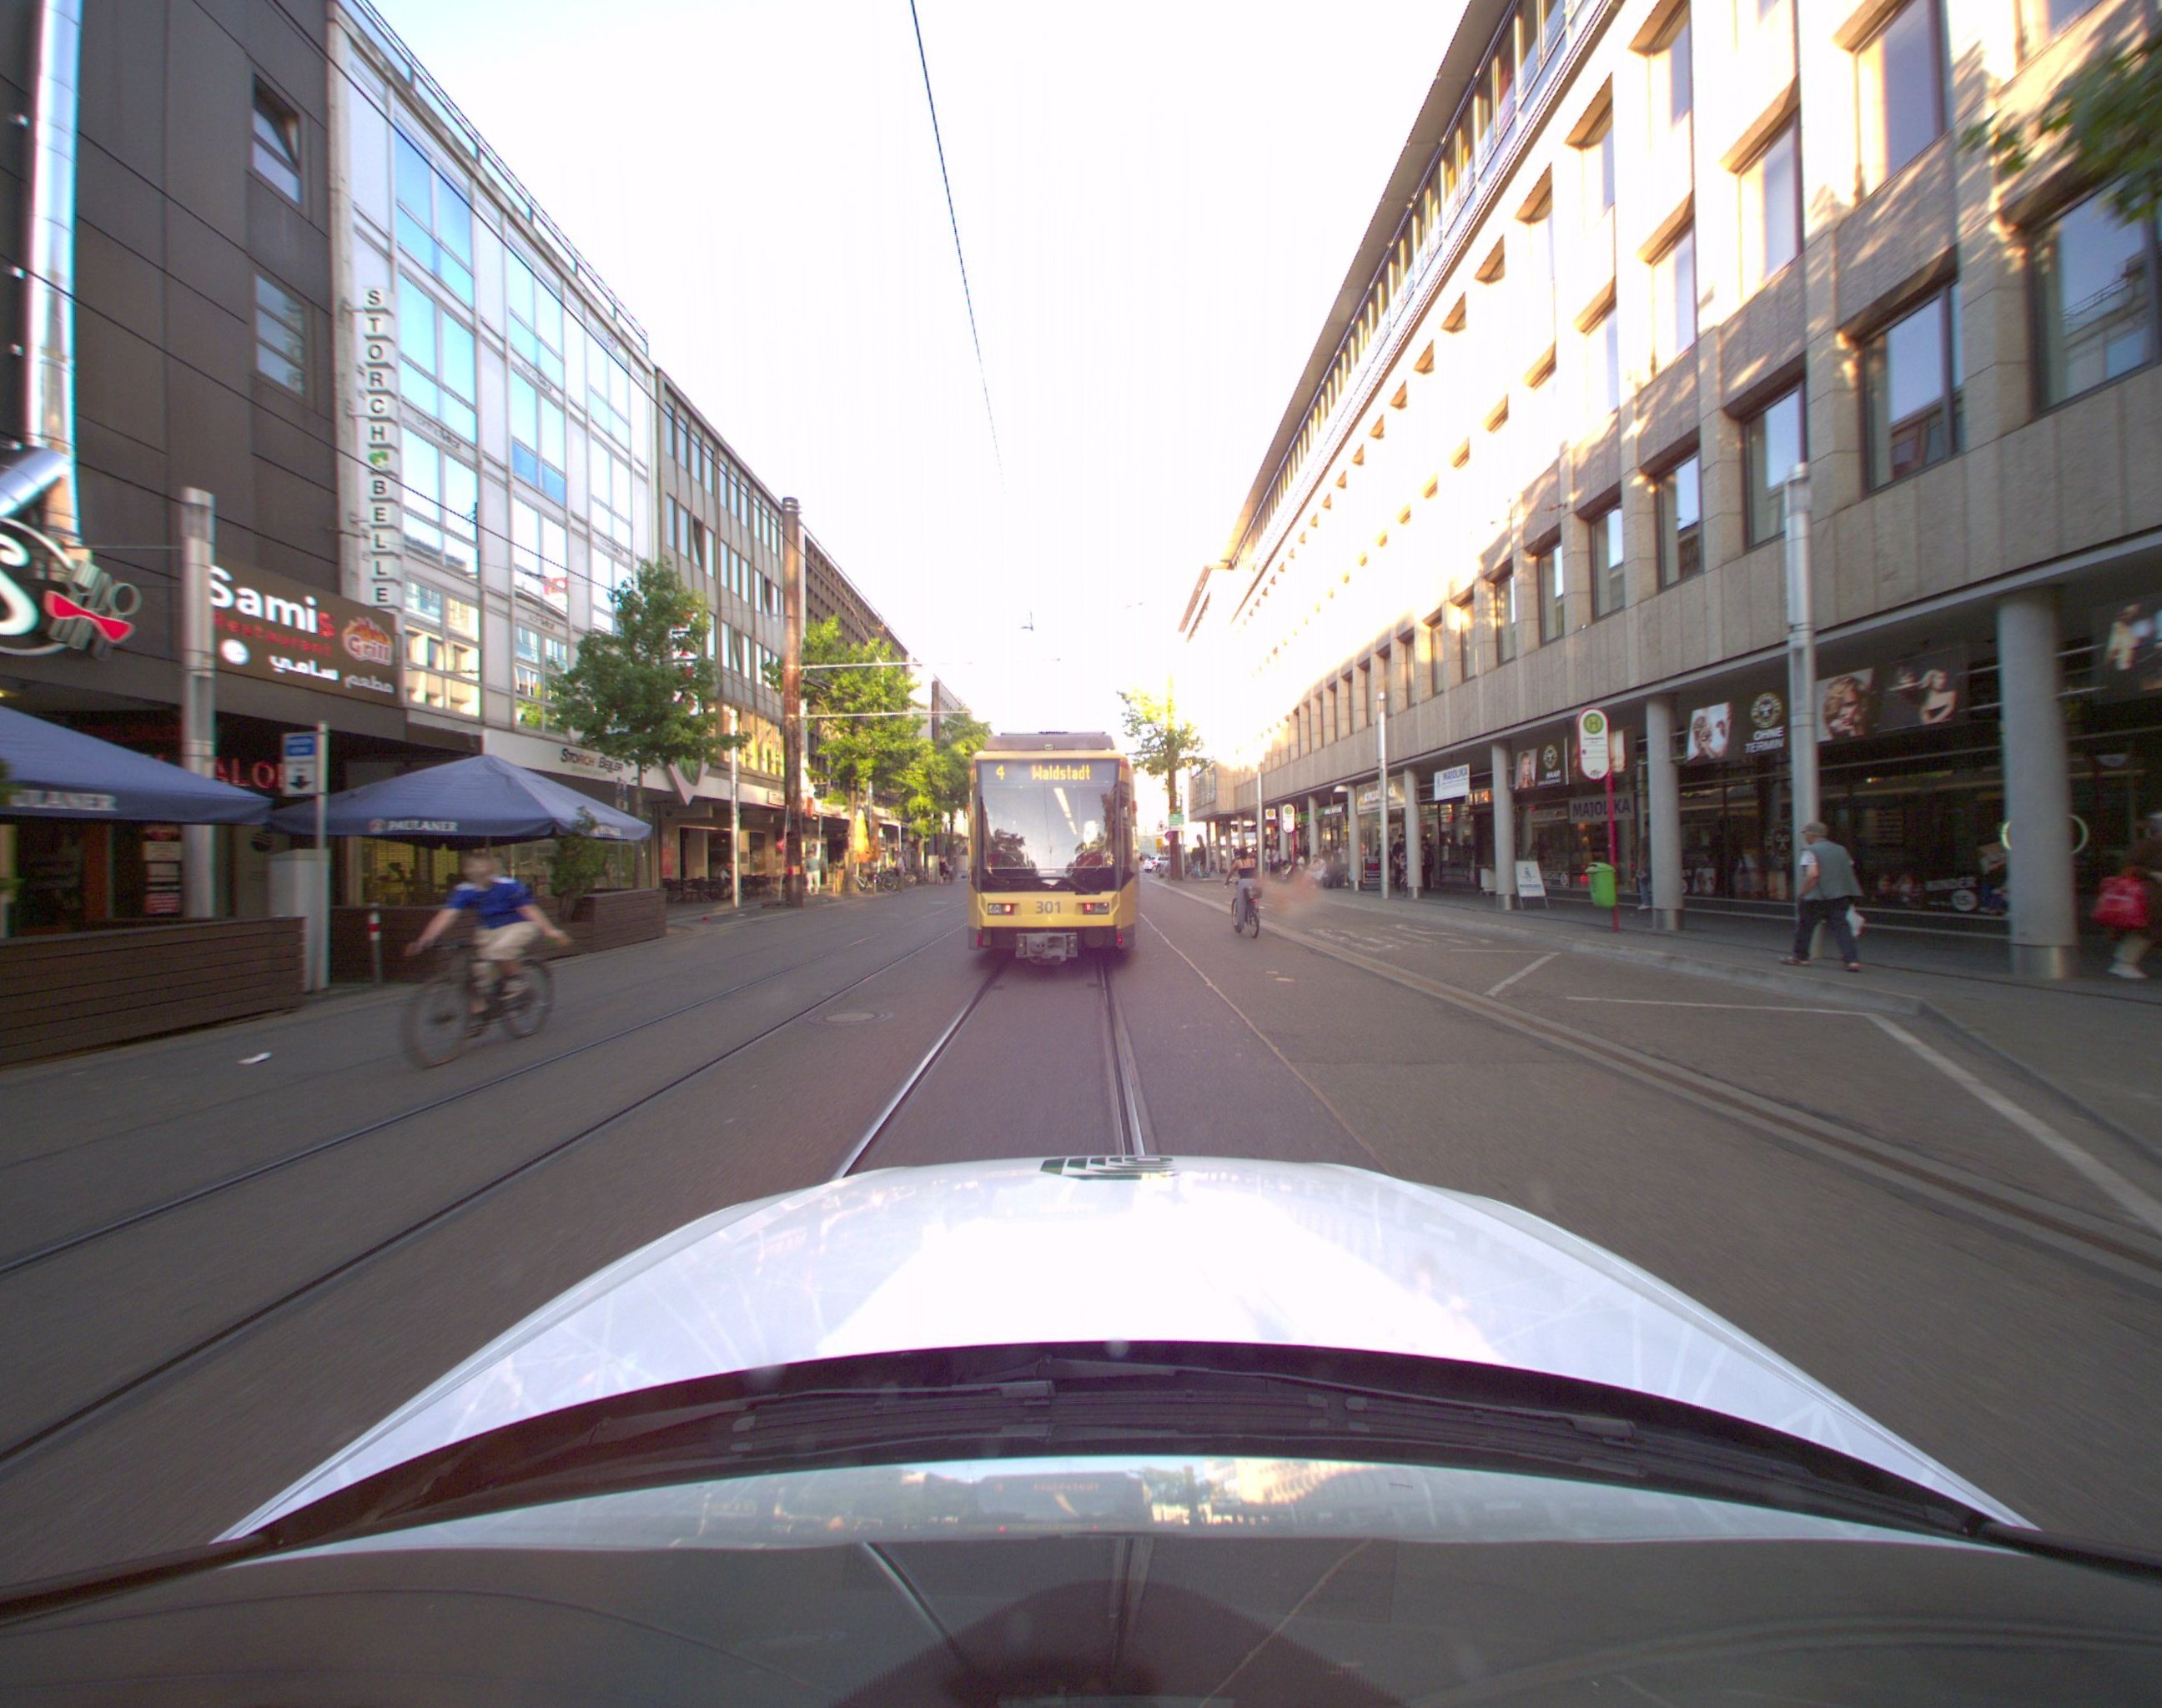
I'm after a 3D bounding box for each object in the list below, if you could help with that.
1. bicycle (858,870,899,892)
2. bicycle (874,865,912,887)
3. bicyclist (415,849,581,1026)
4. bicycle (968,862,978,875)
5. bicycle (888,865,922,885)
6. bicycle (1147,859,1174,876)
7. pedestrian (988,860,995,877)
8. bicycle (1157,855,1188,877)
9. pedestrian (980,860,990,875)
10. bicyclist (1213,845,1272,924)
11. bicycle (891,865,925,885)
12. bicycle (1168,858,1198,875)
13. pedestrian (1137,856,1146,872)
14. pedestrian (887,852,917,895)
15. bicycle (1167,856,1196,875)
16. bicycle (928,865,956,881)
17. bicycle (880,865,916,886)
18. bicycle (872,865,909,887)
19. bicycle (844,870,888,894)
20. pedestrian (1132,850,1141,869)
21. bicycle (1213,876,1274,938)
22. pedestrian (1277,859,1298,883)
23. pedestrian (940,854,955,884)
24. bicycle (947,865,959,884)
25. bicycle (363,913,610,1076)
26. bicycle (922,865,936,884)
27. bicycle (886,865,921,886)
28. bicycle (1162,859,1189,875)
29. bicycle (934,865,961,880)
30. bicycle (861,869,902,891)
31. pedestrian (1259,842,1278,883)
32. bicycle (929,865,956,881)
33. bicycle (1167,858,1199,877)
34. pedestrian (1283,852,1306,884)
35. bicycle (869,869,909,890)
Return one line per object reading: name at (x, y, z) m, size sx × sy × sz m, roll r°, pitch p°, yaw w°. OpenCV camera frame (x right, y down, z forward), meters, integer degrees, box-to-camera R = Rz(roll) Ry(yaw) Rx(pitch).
bicycle at (-9.201, 1.212, 37.024) m, size 1.769 × 0.990 × 0.488 m, roll 0°, pitch 1°, yaw -6°
bicycle at (-9.519, 1.119, 41.270) m, size 1.769 × 1.071 × 0.488 m, roll 1°, pitch 0°, yaw -6°
bicyclist at (-4.956, 0.671, 6.991) m, size 0.756 × 1.415 × 0.897 m, roll 0°, pitch 0°, yaw 0°
bicycle at (-10.291, 1.371, 77.721) m, size 0.496 × 1.107 × 1.803 m, roll -1°, pitch 1°, yaw 6°
bicycle at (-9.558, 1.146, 44.276) m, size 1.769 × 1.071 × 0.488 m, roll 1°, pitch 0°, yaw -6°
bicycle at (5.795, 0.986, 59.160) m, size 1.848 × 1.109 × 0.666 m, roll -3°, pitch 0°, yaw -3°
pedestrian at (-7.969, 1.337, 72.741) m, size 0.603 × 1.494 × 0.554 m, roll -1°, pitch -1°, yaw -8°
bicycle at (6.144, 0.792, 54.987) m, size 1.911 × 1.333 × 0.724 m, roll -3°, pitch 0°, yaw -5°
pedestrian at (-8.976, 1.263, 76.411) m, size 0.548 × 1.434 × 0.689 m, roll -2°, pitch -2°, yaw 38°
bicyclist at (3.147, 0.584, 15.961) m, size 0.993 × 1.502 × 0.857 m, roll 0°, pitch 0°, yaw 1°
bicycle at (-9.542, 1.152, 44.928) m, size 1.769 × 1.071 × 0.488 m, roll 1°, pitch 0°, yaw -6°
bicycle at (7.116, 0.872, 56.979) m, size 1.911 × 1.078 × 0.762 m, roll -3°, pitch 0°, yaw -5°
pedestrian at (6.809, 1.099, 91.514) m, size 0.734 × 1.823 × 0.816 m, roll -1°, pitch 0°, yaw -14°
pedestrian at (-7.566, 0.814, 34.409) m, size 0.827 × 1.792 × 0.978 m, roll 0°, pitch -1°, yaw -43°
bicycle at (7.124, 0.779, 57.726) m, size 1.911 × 1.222 × 0.762 m, roll -3°, pitch 0°, yaw -5°
bicycle at (-9.322, 1.255, 54.628) m, size 1.766 × 1.045 × 0.489 m, roll 0°, pitch 0°, yaw 0°
bicycle at (-9.556, 1.131, 42.511) m, size 1.769 × 1.071 × 0.488 m, roll 1°, pitch 0°, yaw -6°
bicycle at (-9.506, 1.114, 40.693) m, size 1.769 × 1.071 × 0.488 m, roll 1°, pitch 0°, yaw -6°
bicycle at (-9.090, 1.194, 34.414) m, size 1.758 × 0.966 × 0.491 m, roll 1°, pitch -1°, yaw 17°
pedestrian at (5.161, 0.521, 75.533) m, size 0.715 × 1.725 × 0.709 m, roll -2°, pitch -1°, yaw 1°
bicycle at (3.147, 1.007, 15.974) m, size 0.812 × 1.073 × 2.114 m, roll 0°, pitch 0°, yaw 1°
pedestrian at (9.204, 0.752, 36.265) m, size 0.810 × 1.042 × 0.544 m, roll -1°, pitch -1°, yaw 2°
pedestrian at (-7.762, 0.870, 47.384) m, size 0.595 × 1.699 × 0.539 m, roll -1°, pitch 0°, yaw 29°
bicycle at (-7.461, 1.211, 47.513) m, size 0.486 × 1.045 × 1.776 m, roll -1°, pitch 0°, yaw -2°
bicycle at (-4.963, 1.115, 6.994) m, size 0.728 × 1.073 × 1.866 m, roll 0°, pitch 0°, yaw 0°
bicycle at (-8.829, 1.202, 47.322) m, size 0.486 × 1.045 × 1.776 m, roll -1°, pitch 0°, yaw -2°
bicycle at (-9.510, 1.141, 43.731) m, size 1.769 × 1.071 × 0.488 m, roll 1°, pitch 0°, yaw -6°
bicycle at (6.866, 0.934, 59.406) m, size 1.848 × 1.109 × 0.666 m, roll -3°, pitch 0°, yaw -3°
bicycle at (-9.262, 1.271, 56.512) m, size 1.766 × 1.045 × 0.489 m, roll 0°, pitch 0°, yaw 0°
bicycle at (-9.204, 1.217, 37.552) m, size 1.769 × 0.990 × 0.488 m, roll 0°, pitch 1°, yaw -6°
pedestrian at (8.541, 0.391, 37.060) m, size 0.637 × 1.839 × 0.668 m, roll -2°, pitch -1°, yaw 1°
bicycle at (-9.316, 1.257, 54.871) m, size 1.766 × 1.045 × 0.489 m, roll 0°, pitch 0°, yaw 0°
bicycle at (6.767, 0.883, 54.110) m, size 1.992 × 1.155 × 0.724 m, roll -3°, pitch 0°, yaw -5°
pedestrian at (9.302, 0.618, 35.502) m, size 0.810 × 1.381 × 0.662 m, roll -1°, pitch -1°, yaw 2°
bicycle at (-9.182, 1.229, 38.964) m, size 1.769 × 0.990 × 0.488 m, roll 0°, pitch 1°, yaw -6°
